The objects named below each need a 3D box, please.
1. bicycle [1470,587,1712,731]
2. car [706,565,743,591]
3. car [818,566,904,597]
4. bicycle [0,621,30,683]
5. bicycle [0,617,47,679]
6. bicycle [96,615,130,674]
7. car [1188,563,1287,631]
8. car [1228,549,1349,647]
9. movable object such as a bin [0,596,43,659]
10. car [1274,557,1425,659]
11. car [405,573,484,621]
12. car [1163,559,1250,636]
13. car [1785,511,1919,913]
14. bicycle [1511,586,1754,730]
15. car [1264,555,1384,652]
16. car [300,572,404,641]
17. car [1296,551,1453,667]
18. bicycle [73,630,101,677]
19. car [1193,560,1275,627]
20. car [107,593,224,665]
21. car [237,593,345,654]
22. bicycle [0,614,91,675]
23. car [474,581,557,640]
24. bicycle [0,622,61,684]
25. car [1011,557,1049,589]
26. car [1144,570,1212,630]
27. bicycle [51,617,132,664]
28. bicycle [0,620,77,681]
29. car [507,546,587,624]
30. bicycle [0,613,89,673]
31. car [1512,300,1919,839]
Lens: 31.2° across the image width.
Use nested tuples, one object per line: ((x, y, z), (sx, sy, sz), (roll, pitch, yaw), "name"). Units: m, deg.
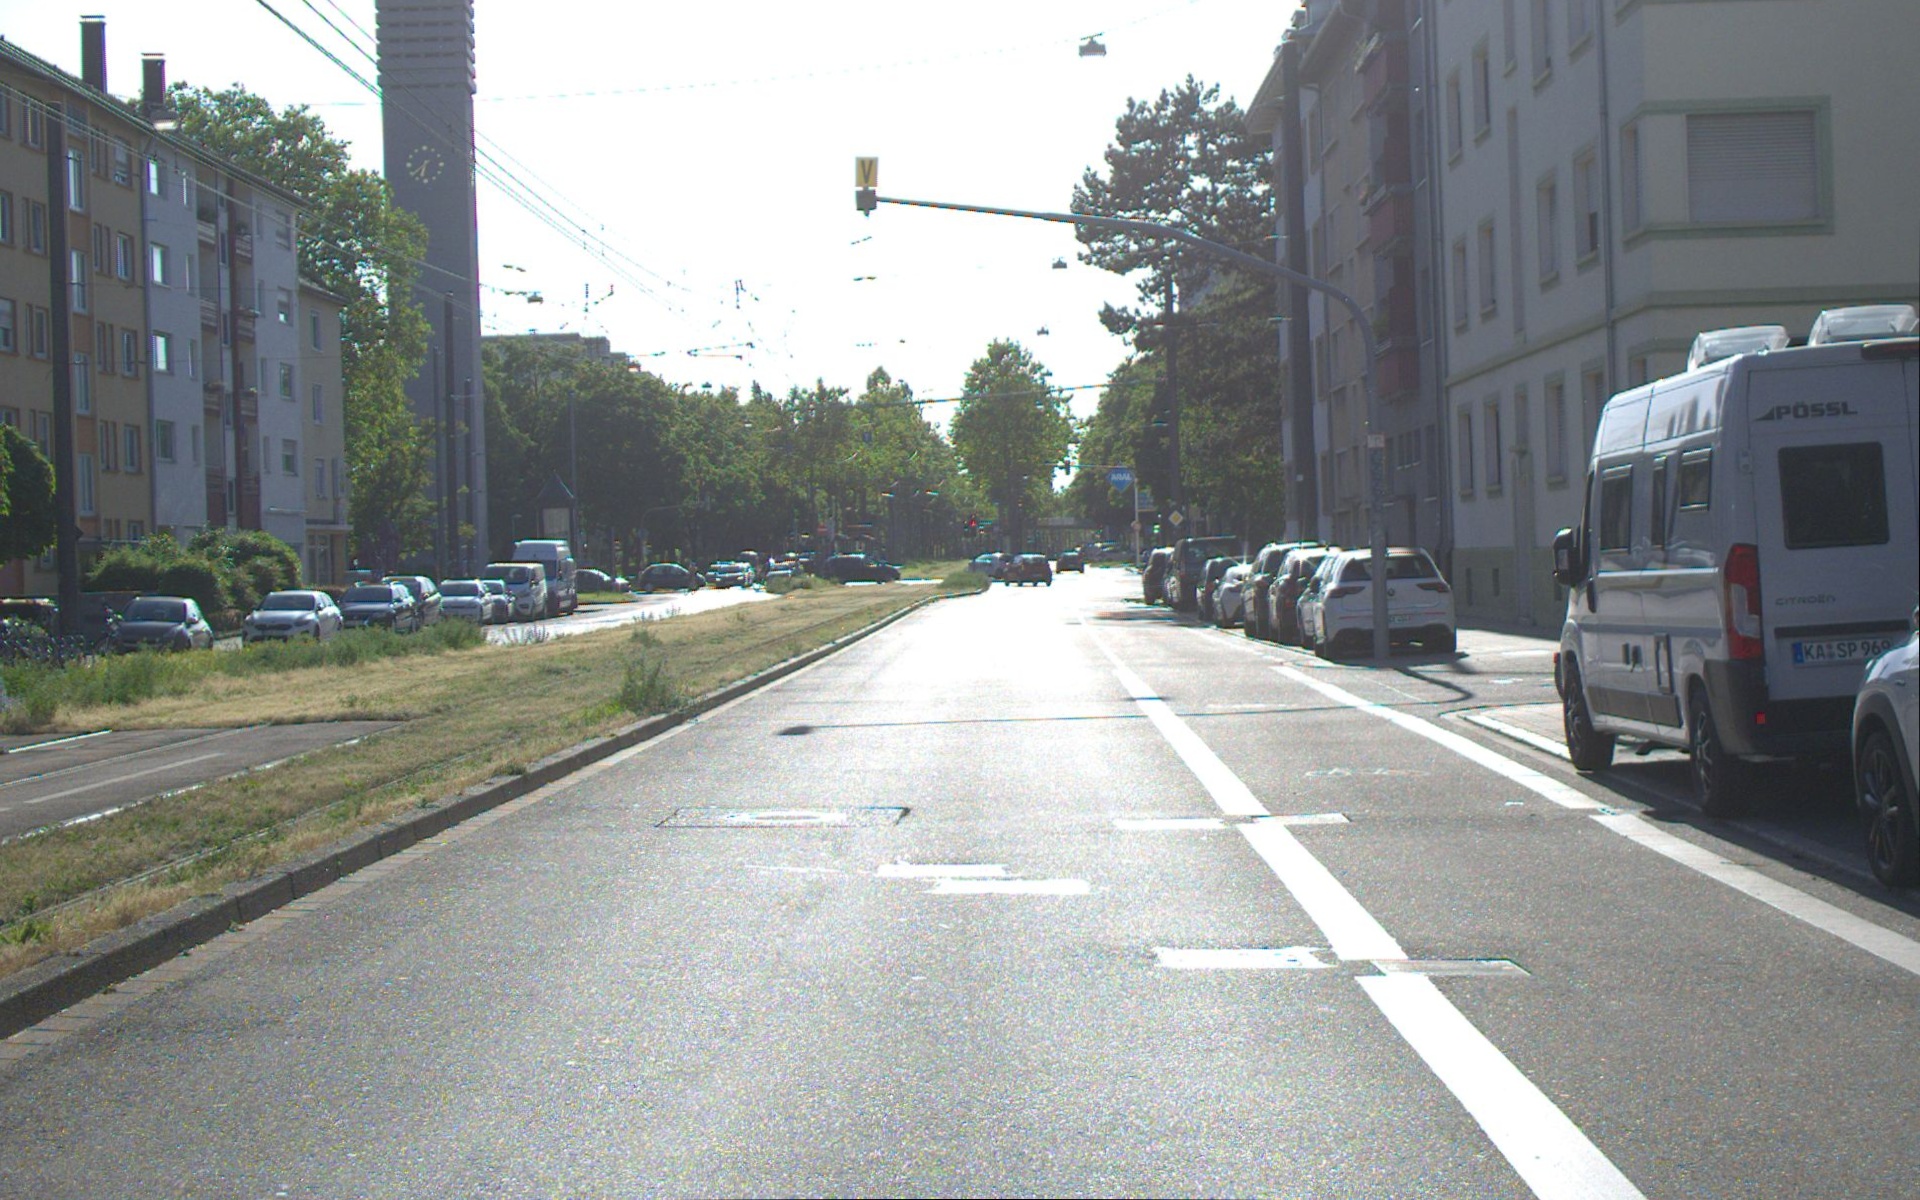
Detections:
((5.013, 0.481, 27.406), (1.916, 1.083, 0.472), (-3, 1, 45), "bicycle")
((-14.587, -1.367, 213.168), (1.807, 1.528, 4.361), (-1, 0, 1), "car")
((-5.499, -1.040, 190.801), (4.486, 1.605, 1.900), (1, 0, -37), "car")
((-17.803, 0.916, 61.713), (2.048, 1.089, 0.615), (1, 0, 7), "bicycle")
((-17.691, 0.848, 62.407), (2.048, 1.089, 0.615), (1, 0, 7), "bicycle")
((-16.474, 0.853, 66.867), (0.509, 1.089, 1.936), (1, 0, -10), "bicycle")
((5.933, -0.078, 73.985), (1.702, 1.271, 4.303), (-5, 0, 0), "car")
((6.016, -0.044, 63.379), (1.635, 1.642, 4.374), (-4, 0, -1), "car")
((-21.221, 0.609, 76.731), (1.147, 1.363, 1.039), (1, 0, 4), "movable object such as a bin")
((5.963, 0.105, 53.017), (1.635, 1.453, 4.082), (-2, 1, -3), "car")
((-16.531, -0.127, 110.448), (1.892, 1.486, 4.703), (1, 0, -1), "car")
((6.628, -0.084, 93.054), (1.913, 1.893, 5.135), (-4, 0, 1), "car")
((4.795, 0.421, 13.562), (1.847, 1.631, 4.575), (-2, 1, -1), "car")
((5.419, 0.478, 27.777), (1.916, 1.083, 0.473), (-3, 2, 45), "bicycle")
((6.112, 0.032, 58.113), (1.635, 1.512, 4.188), (-2, 1, 2), "car")
((-16.905, 0.160, 95.785), (1.993, 1.831, 4.609), (1, 0, 1), "car")
((5.642, 0.092, 47.211), (1.694, 1.453, 4.379), (-2, 1, 2), "car")
((-16.951, 1.034, 66.793), (0.376, 0.863, 2.055), (1, 0, -10), "bicycle")
((6.491, -0.164, 81.782), (1.635, 1.449, 3.789), (-4, 0, 1), "car")
((-16.704, 0.595, 72.407), (1.635, 1.437, 3.734), (1, 0, -1), "car")
((-16.558, 0.567, 85.321), (1.729, 1.449, 4.376), (0, 0, 1), "car")
((-17.428, 0.836, 64.573), (2.048, 1.089, 0.615), (1, 0, 7), "bicycle")
((-15.774, 0.343, 122.224), (2.032, 2.014, 5.370), (1, 0, 2), "car")
((-17.631, 0.965, 63.159), (2.048, 1.089, 0.615), (1, 0, 7), "bicycle")
((3.341, -1.300, 164.495), (1.694, 1.503, 3.699), (1, 0, -1), "car")
((6.821, -0.025, 108.124), (1.879, 1.711, 4.933), (-4, 0, 2), "car")
((-16.802, 0.783, 66.468), (1.584, 0.866, 0.417), (1, 0, 24), "bicycle")
((-17.511, 0.929, 63.876), (2.048, 1.089, 0.615), (1, 0, 7), "bicycle")
((-15.533, -0.558, 129.453), (2.032, 2.859, 6.227), (0, 0, 2), "car")
((-17.703, 0.819, 65.951), (2.051, 1.089, 0.614), (1, 0, 28), "bicycle")
((4.931, -0.207, 20.688), (2.151, 2.687, 6.292), (-3, 0, 1), "car")
